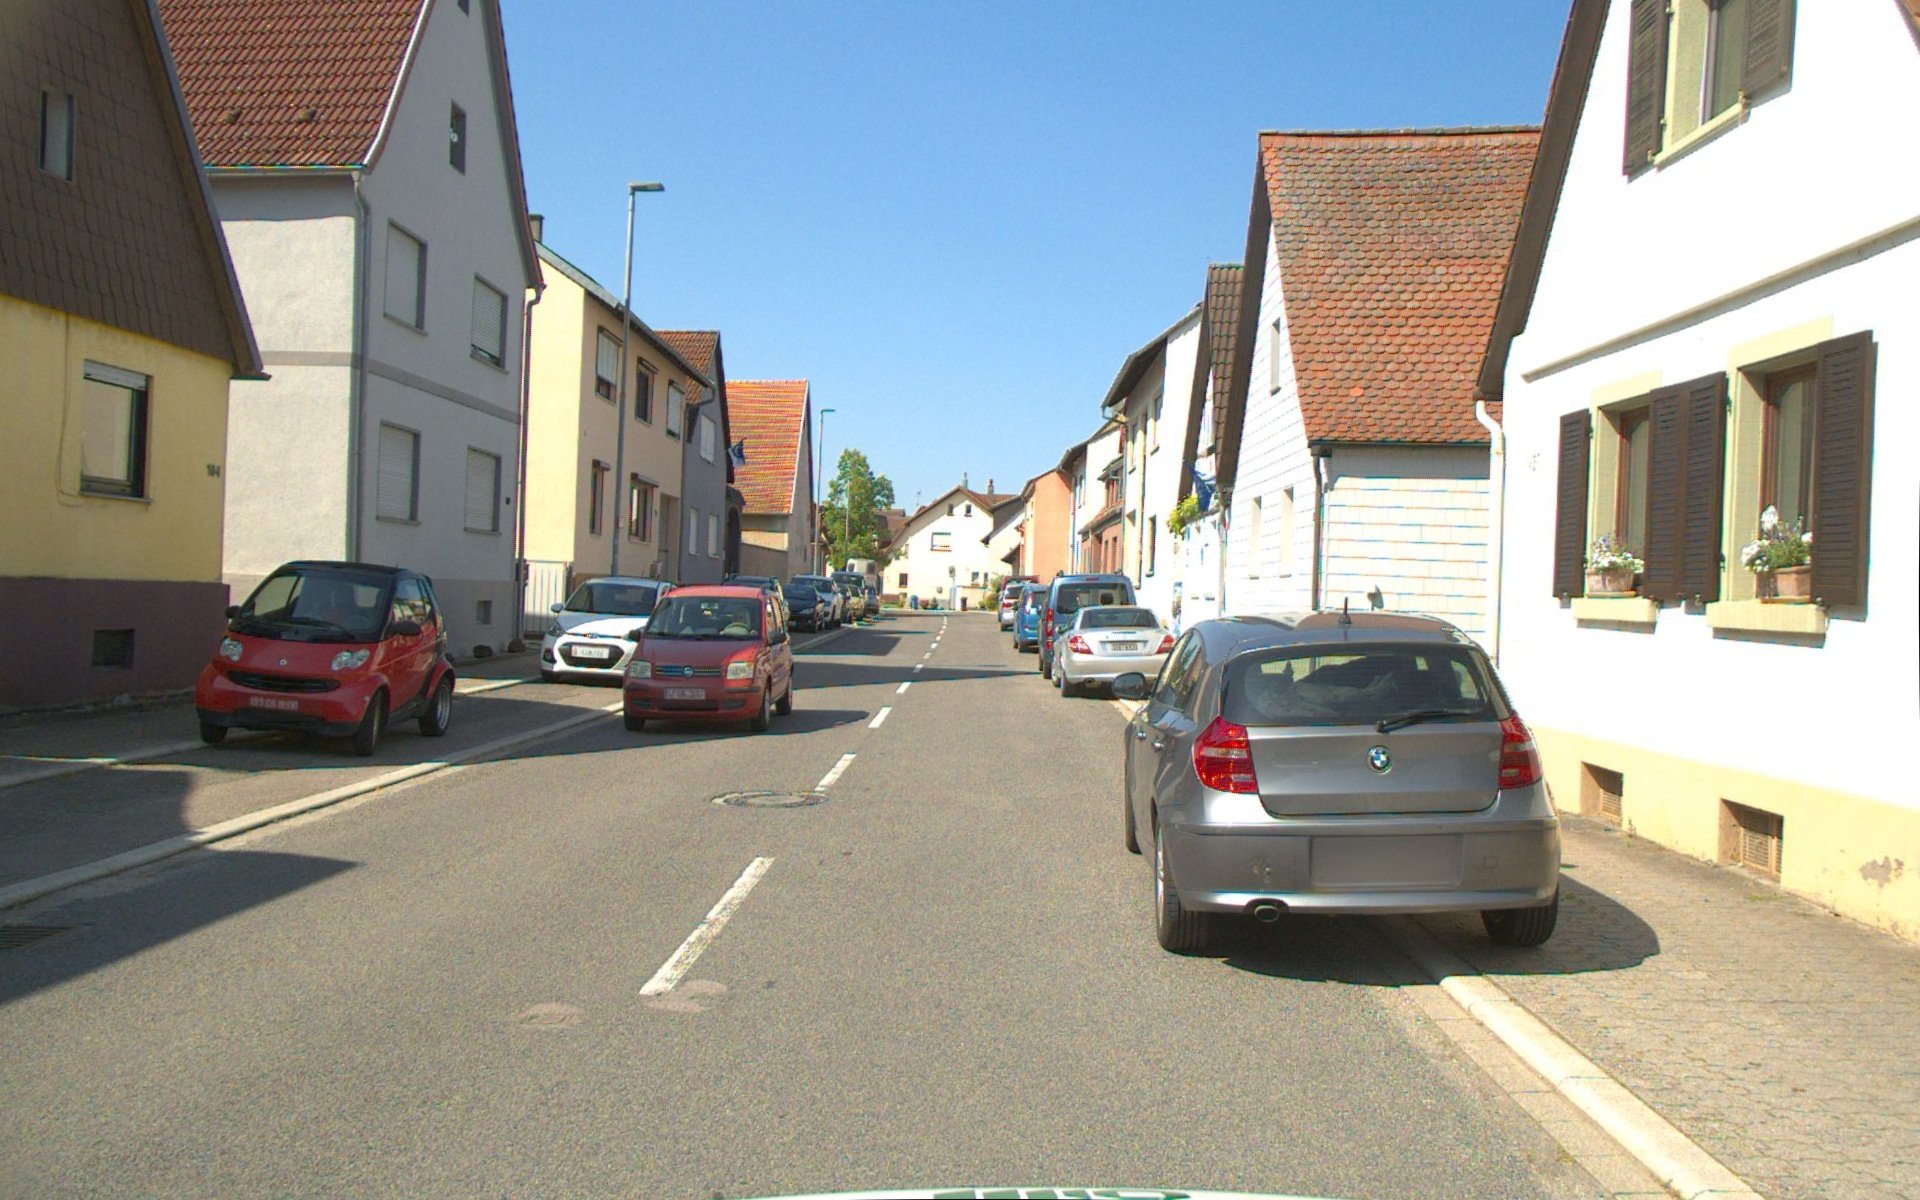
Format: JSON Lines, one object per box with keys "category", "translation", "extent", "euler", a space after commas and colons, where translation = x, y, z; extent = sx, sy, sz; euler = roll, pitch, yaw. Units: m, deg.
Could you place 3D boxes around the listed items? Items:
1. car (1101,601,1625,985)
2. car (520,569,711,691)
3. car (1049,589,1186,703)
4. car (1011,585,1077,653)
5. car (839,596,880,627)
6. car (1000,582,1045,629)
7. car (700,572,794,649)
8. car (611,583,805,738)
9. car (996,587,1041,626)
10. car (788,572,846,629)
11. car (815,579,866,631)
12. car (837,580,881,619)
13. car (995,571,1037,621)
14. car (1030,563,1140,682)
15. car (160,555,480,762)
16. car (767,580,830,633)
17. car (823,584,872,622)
{"category": "car", "translation": [1.705, 0.737, 8.259], "extent": [1.669, 1.458, 3.889], "euler": [0, 0, 0]}
{"category": "car", "translation": [-5.060, 0.412, 24.884], "extent": [1.769, 1.574, 4.404], "euler": [3, 0, 2]}
{"category": "car", "translation": [2.309, 0.644, 24.931], "extent": [1.670, 1.522, 3.452], "euler": [3, 0, 0]}
{"category": "car", "translation": [2.046, 0.452, 40.844], "extent": [1.391, 1.541, 3.304], "euler": [3, 0, 0]}
{"category": "car", "translation": [-5.138, 0.595, 84.667], "extent": [1.718, 1.467, 4.001], "euler": [2, 0, 2]}
{"category": "car", "translation": [2.186, 0.200, 58.440], "extent": [1.391, 1.541, 3.304], "euler": [3, 0, 0]}
{"category": "car", "translation": [-4.878, 0.234, 38.349], "extent": [1.586, 1.605, 3.961], "euler": [3, 0, 0]}
{"category": "car", "translation": [-2.758, 0.619, 18.798], "extent": [1.568, 1.515, 3.625], "euler": [3, 0, 0]}
{"category": "car", "translation": [2.309, 0.265, 66.204], "extent": [1.730, 1.458, 3.450], "euler": [2, 0, 1]}
{"category": "car", "translation": [-4.678, 0.021, 54.371], "extent": [1.496, 1.743, 3.625], "euler": [3, 0, 0]}
{"category": "car", "translation": [-4.309, 0.187, 59.796], "extent": [1.496, 1.743, 3.625], "euler": [3, 0, 0]}
{"category": "car", "translation": [-4.575, -0.018, 75.225], "extent": [1.718, 1.653, 4.000], "euler": [2, 0, 0]}
{"category": "car", "translation": [2.412, -0.161, 71.697], "extent": [1.730, 2.039, 3.450], "euler": [2, 0, 1]}
{"category": "car", "translation": [2.198, 0.386, 29.882], "extent": [1.616, 1.943, 3.625], "euler": [3, 0, 0]}
{"category": "car", "translation": [-5.518, 0.465, 14.627], "extent": [1.520, 1.571, 2.988], "euler": [3, 0, 2]}
{"category": "car", "translation": [-4.835, 0.200, 49.817], "extent": [1.473, 1.478, 3.509], "euler": [2, 0, 1]}
{"category": "car", "translation": [-4.586, 0.145, 67.699], "extent": [1.718, 1.467, 3.999], "euler": [2, 0, -1]}
